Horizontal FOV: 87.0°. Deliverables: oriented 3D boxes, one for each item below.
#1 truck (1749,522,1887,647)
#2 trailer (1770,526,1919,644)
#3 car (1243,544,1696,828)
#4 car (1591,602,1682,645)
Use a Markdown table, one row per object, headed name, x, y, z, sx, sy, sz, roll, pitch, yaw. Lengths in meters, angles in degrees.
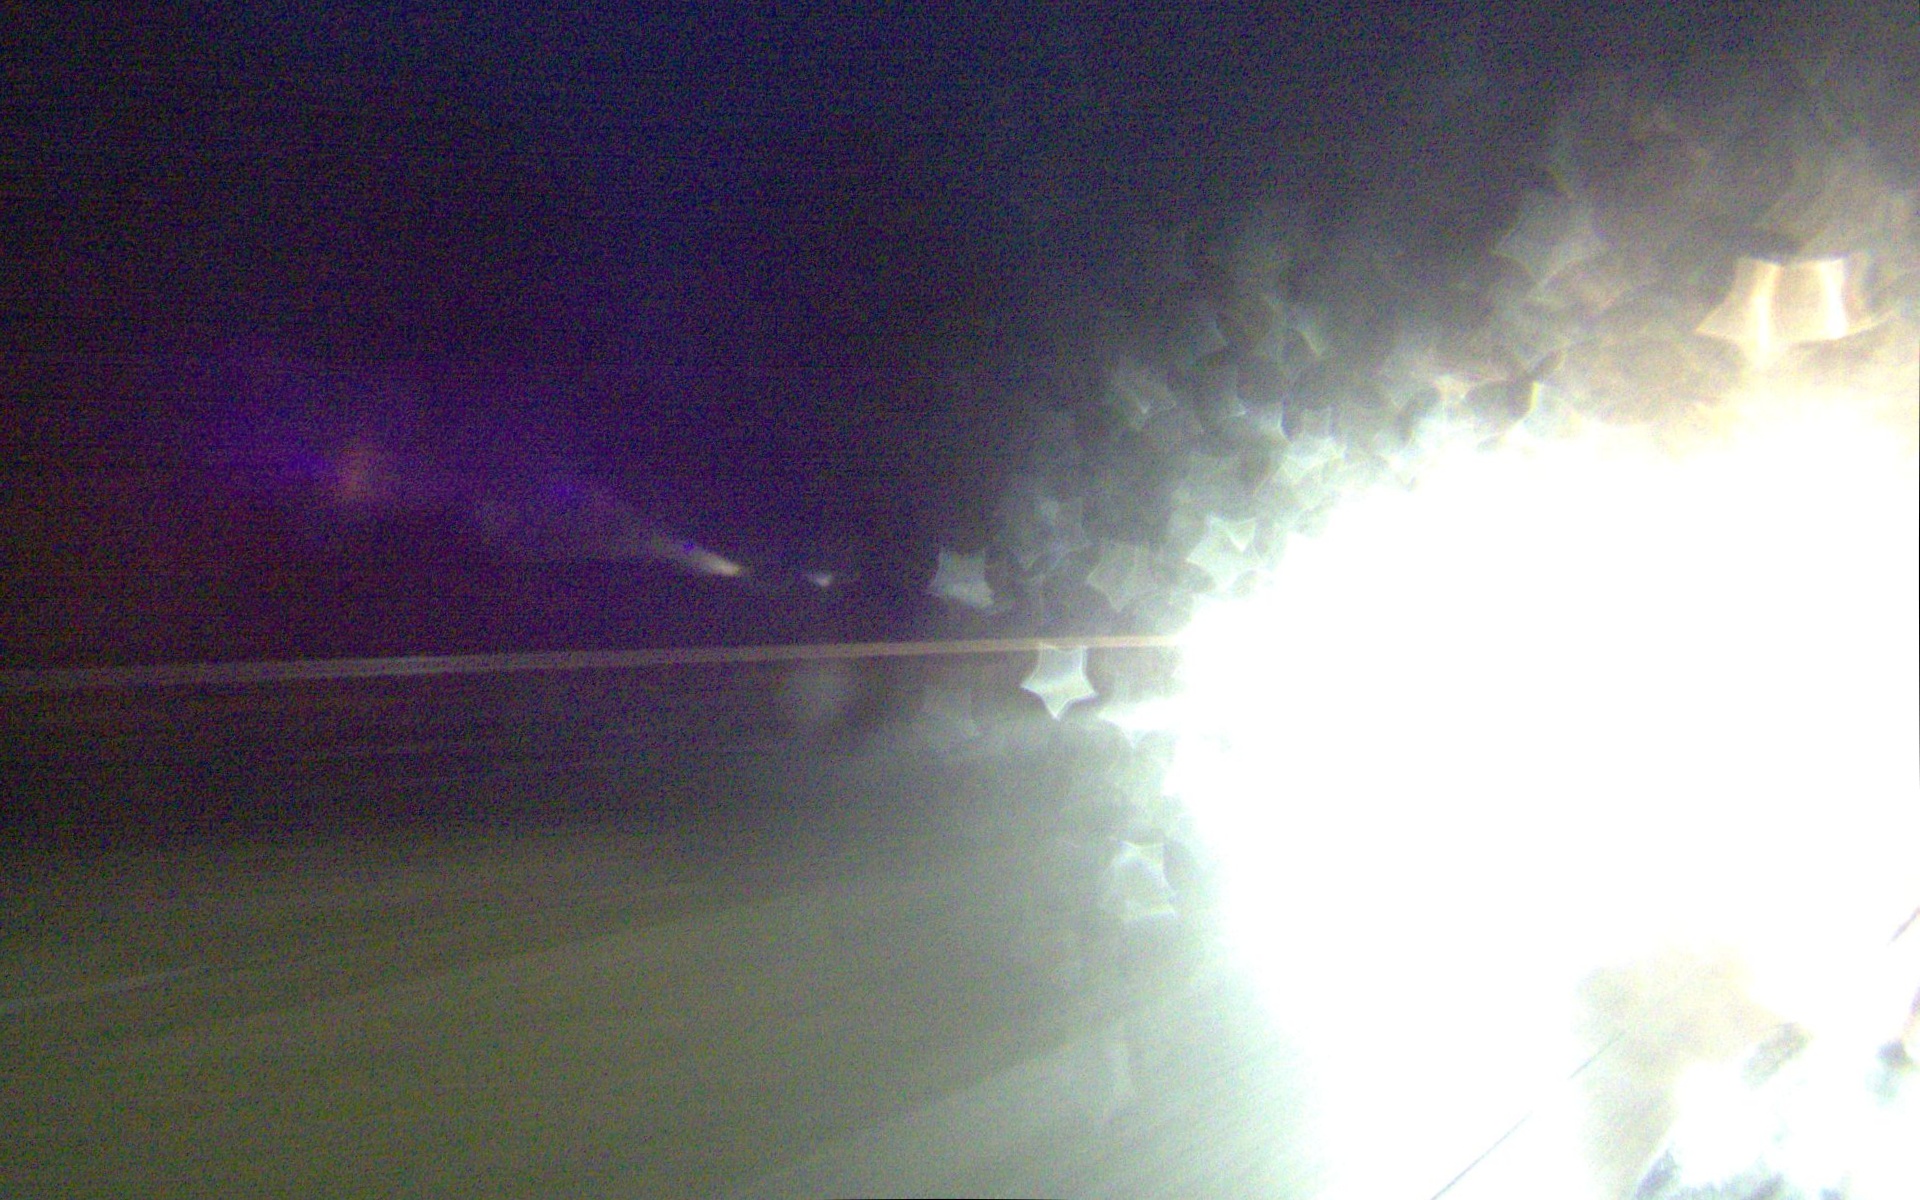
| name | x | y | z | sx | sy | sz | roll | pitch | yaw |
| --- | --- | --- | --- | --- | --- | --- | --- | --- | --- |
| truck | 30.079 | -0.467 | 35.431 | 5.107 | 4.021 | 2.779 | 0 | -3 | -41 |
| trailer | 35.632 | -0.491 | 40.259 | 13.578 | 4.030 | 2.743 | 0 | -3 | -41 |
| car | 4.013 | 0.534 | 7.772 | 3.614 | 1.645 | 1.846 | 1 | -2 | -41 |
| car | 26.830 | 0.915 | 40.079 | 4.044 | 1.610 | 1.917 | 0 | -2 | -41 |
